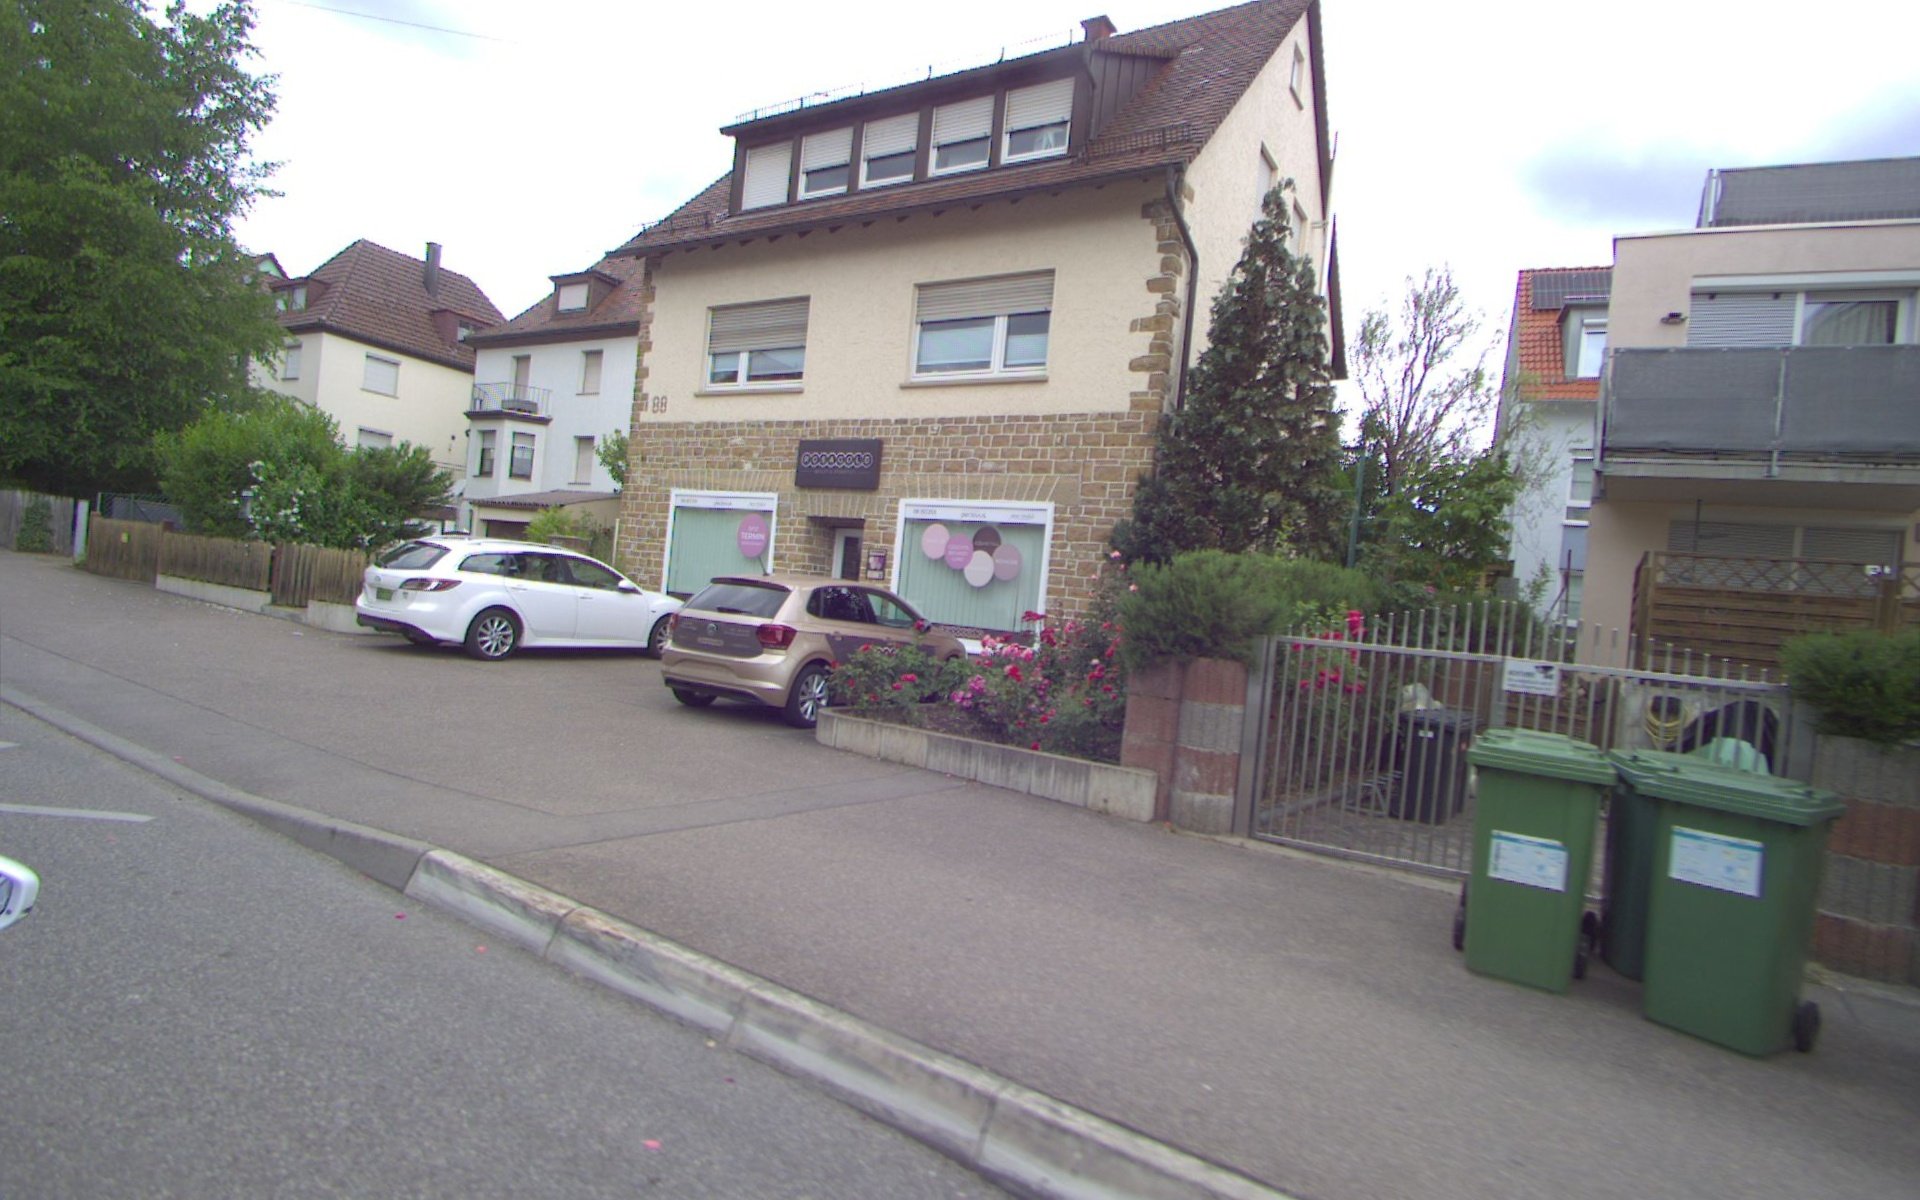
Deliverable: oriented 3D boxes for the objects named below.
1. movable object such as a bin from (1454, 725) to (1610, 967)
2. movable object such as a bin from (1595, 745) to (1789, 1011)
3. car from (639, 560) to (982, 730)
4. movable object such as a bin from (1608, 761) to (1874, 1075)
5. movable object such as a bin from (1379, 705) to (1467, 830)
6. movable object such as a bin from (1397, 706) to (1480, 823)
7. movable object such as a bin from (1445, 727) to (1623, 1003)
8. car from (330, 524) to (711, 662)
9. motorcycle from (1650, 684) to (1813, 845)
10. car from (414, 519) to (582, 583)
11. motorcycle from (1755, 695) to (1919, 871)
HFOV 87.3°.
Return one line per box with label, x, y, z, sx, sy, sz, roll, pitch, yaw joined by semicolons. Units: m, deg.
movable object such as a bin;2.976;1.245;5.286;0.576;1.060;0.637;6;1;27
movable object such as a bin;3.529;1.300;4.904;0.576;1.060;0.637;6;1;27
car;-1.437;0.451;11.049;1.613;1.420;3.805;6;1;30
movable object such as a bin;3.186;1.249;4.121;0.631;1.059;0.587;7;-1;-30
movable object such as a bin;4.032;1.433;8.748;0.545;0.949;0.584;6;1;32
movable object such as a bin;4.411;1.496;9.270;0.545;0.949;0.584;6;1;32
movable object such as a bin;2.620;1.167;4.645;0.576;1.059;0.638;6;-1;27
car;-5.763;-0.032;13.745;1.836;1.507;4.418;6;1;34
motorcycle;6.859;1.400;9.057;0.684;1.154;1.954;7;1;27
car;-13.055;-1.331;28.675;1.804;1.411;4.089;1;-3;27
motorcycle;7.360;1.443;8.352;0.684;1.154;1.954;7;1;27
